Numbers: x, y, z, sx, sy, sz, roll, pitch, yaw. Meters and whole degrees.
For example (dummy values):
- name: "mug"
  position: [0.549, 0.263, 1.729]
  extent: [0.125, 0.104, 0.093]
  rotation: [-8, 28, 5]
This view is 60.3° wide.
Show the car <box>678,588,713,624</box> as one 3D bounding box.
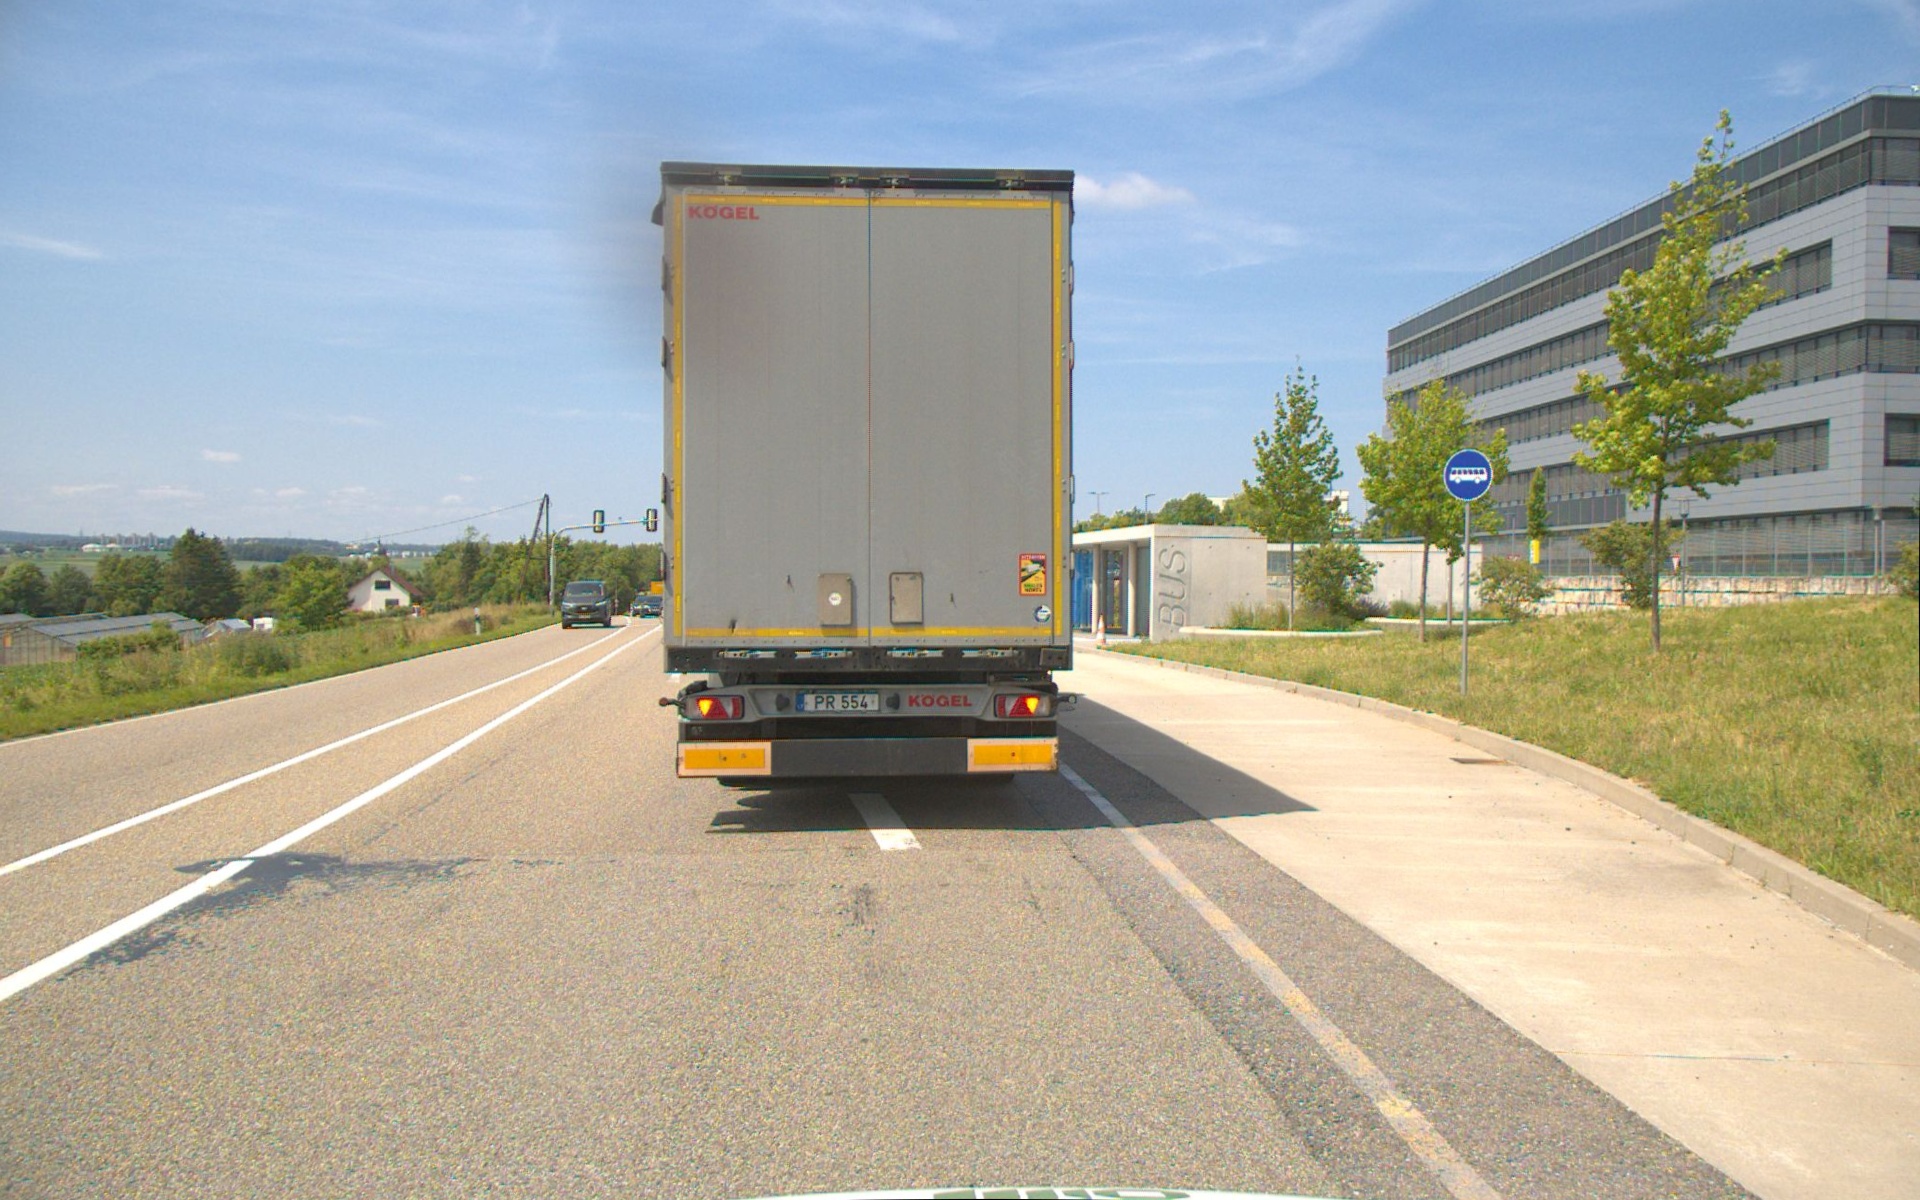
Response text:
- name: "car"
  position: [-15.505, 0.353, 96.973]
  extent: [1.957, 1.984, 4.493]
  rotation: [-2, 0, -9]

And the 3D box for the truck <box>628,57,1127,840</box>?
- name: "truck"
  position: [-0.830, -0.880, 14.026]
  extent: [2.850, 4.487, 8.851]
  rotation: [1, 0, -5]

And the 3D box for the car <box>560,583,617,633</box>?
- name: "car"
  position: [-16.072, 0.316, 71.726]
  extent: [1.957, 2.013, 5.268]
  rotation: [-2, 1, -9]
